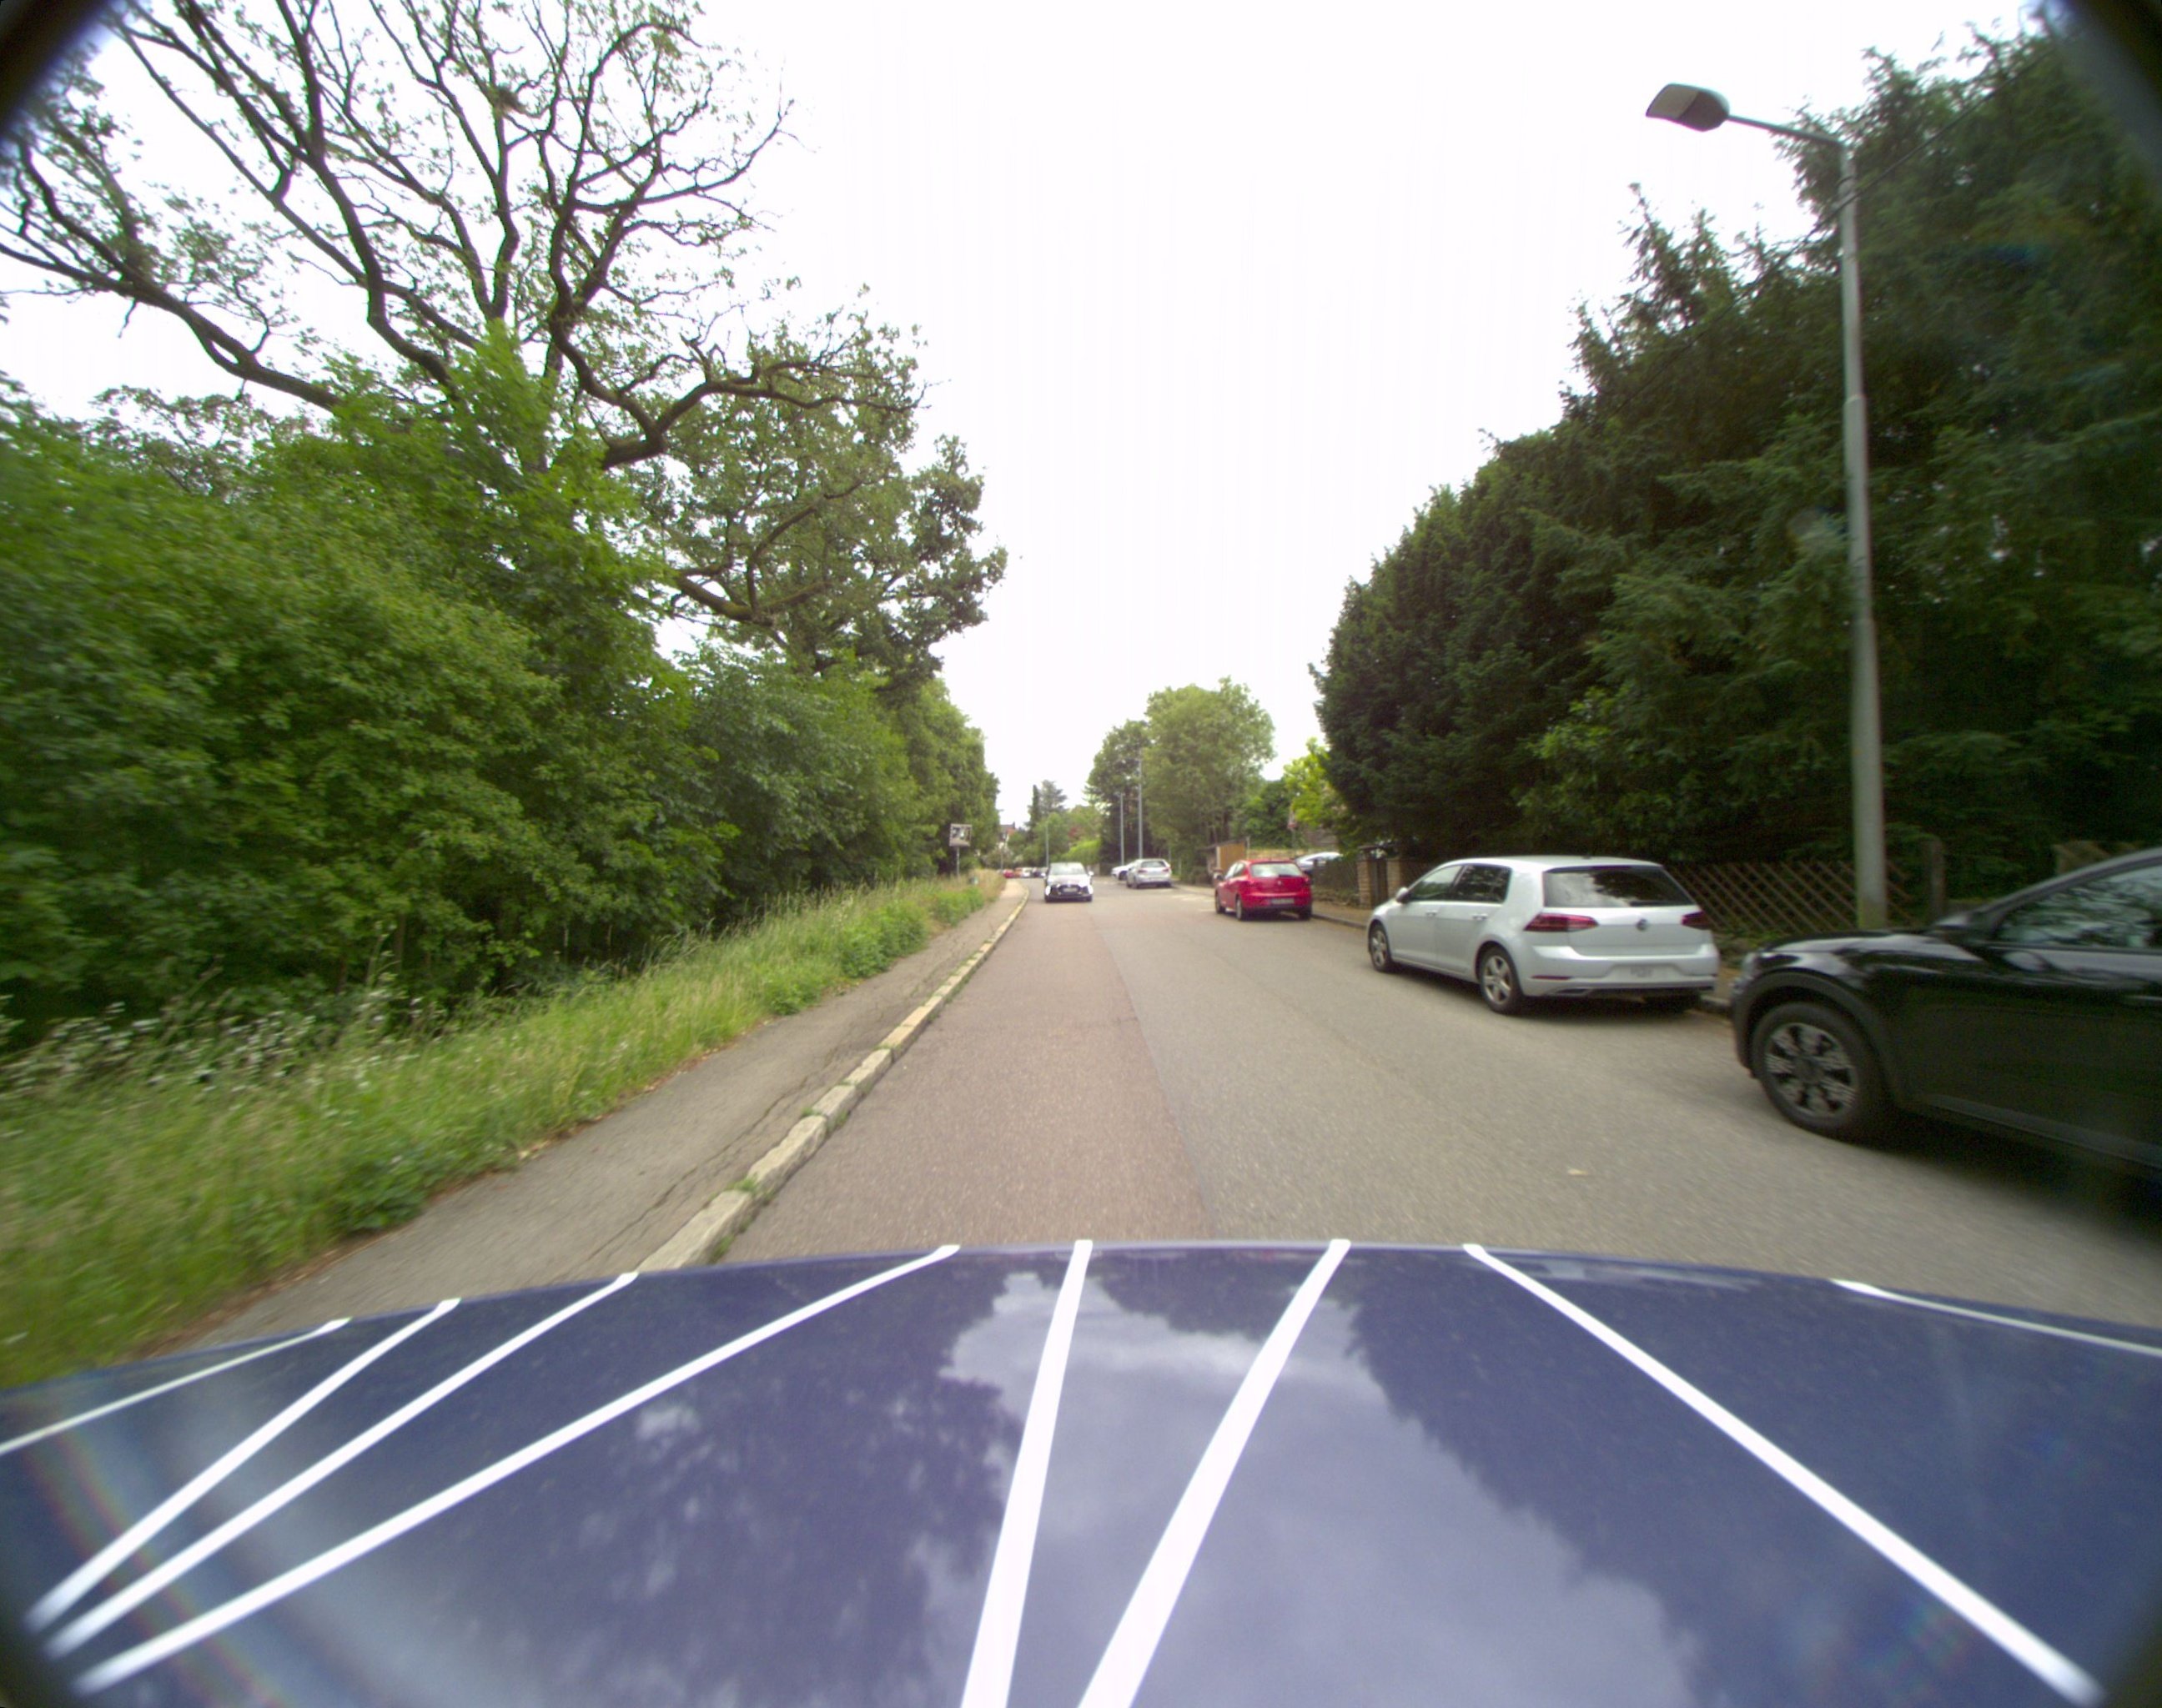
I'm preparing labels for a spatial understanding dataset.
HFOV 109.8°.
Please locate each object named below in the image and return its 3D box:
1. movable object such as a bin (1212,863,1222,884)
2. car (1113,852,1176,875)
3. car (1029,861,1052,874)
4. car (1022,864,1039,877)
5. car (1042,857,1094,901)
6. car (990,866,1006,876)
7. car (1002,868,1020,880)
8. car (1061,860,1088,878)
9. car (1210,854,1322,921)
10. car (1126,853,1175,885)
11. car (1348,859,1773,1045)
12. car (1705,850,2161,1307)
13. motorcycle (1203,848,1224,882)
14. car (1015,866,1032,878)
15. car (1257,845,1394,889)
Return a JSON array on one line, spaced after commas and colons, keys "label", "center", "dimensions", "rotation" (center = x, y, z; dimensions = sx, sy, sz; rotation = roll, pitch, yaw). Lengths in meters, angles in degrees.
[{"label": "movable object such as a bin", "center": [6.158, 0.895, 34.451], "dimensions": [0.367, 0.919, 0.556], "rotation": [2, 0, 2]}, {"label": "car", "center": [4.934, 0.744, 59.940], "dimensions": [4.708, 1.678, 2.000], "rotation": [-2, 0, -2]}, {"label": "car", "center": [-5.431, 1.824, 102.188], "dimensions": [2.001, 1.678, 4.704], "rotation": [-2, 0, -16]}, {"label": "car", "center": [-7.312, 2.375, 109.871], "dimensions": [1.801, 1.678, 3.495], "rotation": [-2, 0, -17]}, {"label": "car", "center": [-0.442, 0.884, 28.963], "dimensions": [1.788, 1.491, 4.015], "rotation": [-2, 0, 1]}, {"label": "car", "center": [-14.329, 2.878, 131.371], "dimensions": [2.001, 1.678, 4.704], "rotation": [-2, 0, -16]}, {"label": "car", "center": [-11.244, 3.188, 121.895], "dimensions": [2.001, 1.678, 4.704], "rotation": [-2, 0, -18]}, {"label": "car", "center": [-0.721, 1.515, 75.694], "dimensions": [2.000, 1.678, 4.707], "rotation": [-2, 0, -8]}, {"label": "car", "center": [4.410, 0.759, 18.664], "dimensions": [1.741, 1.431, 3.787], "rotation": [-2, 0, -1]}, {"label": "car", "center": [3.429, 0.735, 38.108], "dimensions": [1.765, 1.441, 4.042], "rotation": [-2, 0, -5]}, {"label": "car", "center": [4.583, 0.796, 8.216], "dimensions": [1.788, 1.431, 4.323], "rotation": [-2, 0, -1]}, {"label": "car", "center": [4.501, 0.748, 2.385], "dimensions": [1.788, 1.491, 4.015], "rotation": [-2, 0, 1]}, {"label": "motorcycle", "center": [6.275, 0.524, 36.001], "dimensions": [0.484, 1.573, 1.912], "rotation": [-2, 0, -5]}, {"label": "car", "center": [-8.594, 2.638, 113.918], "dimensions": [1.801, 1.678, 3.495], "rotation": [-2, 0, -17]}, {"label": "car", "center": [9.411, 0.506, 29.486], "dimensions": [4.617, 1.378, 1.891], "rotation": [-4, -1, 0]}]
